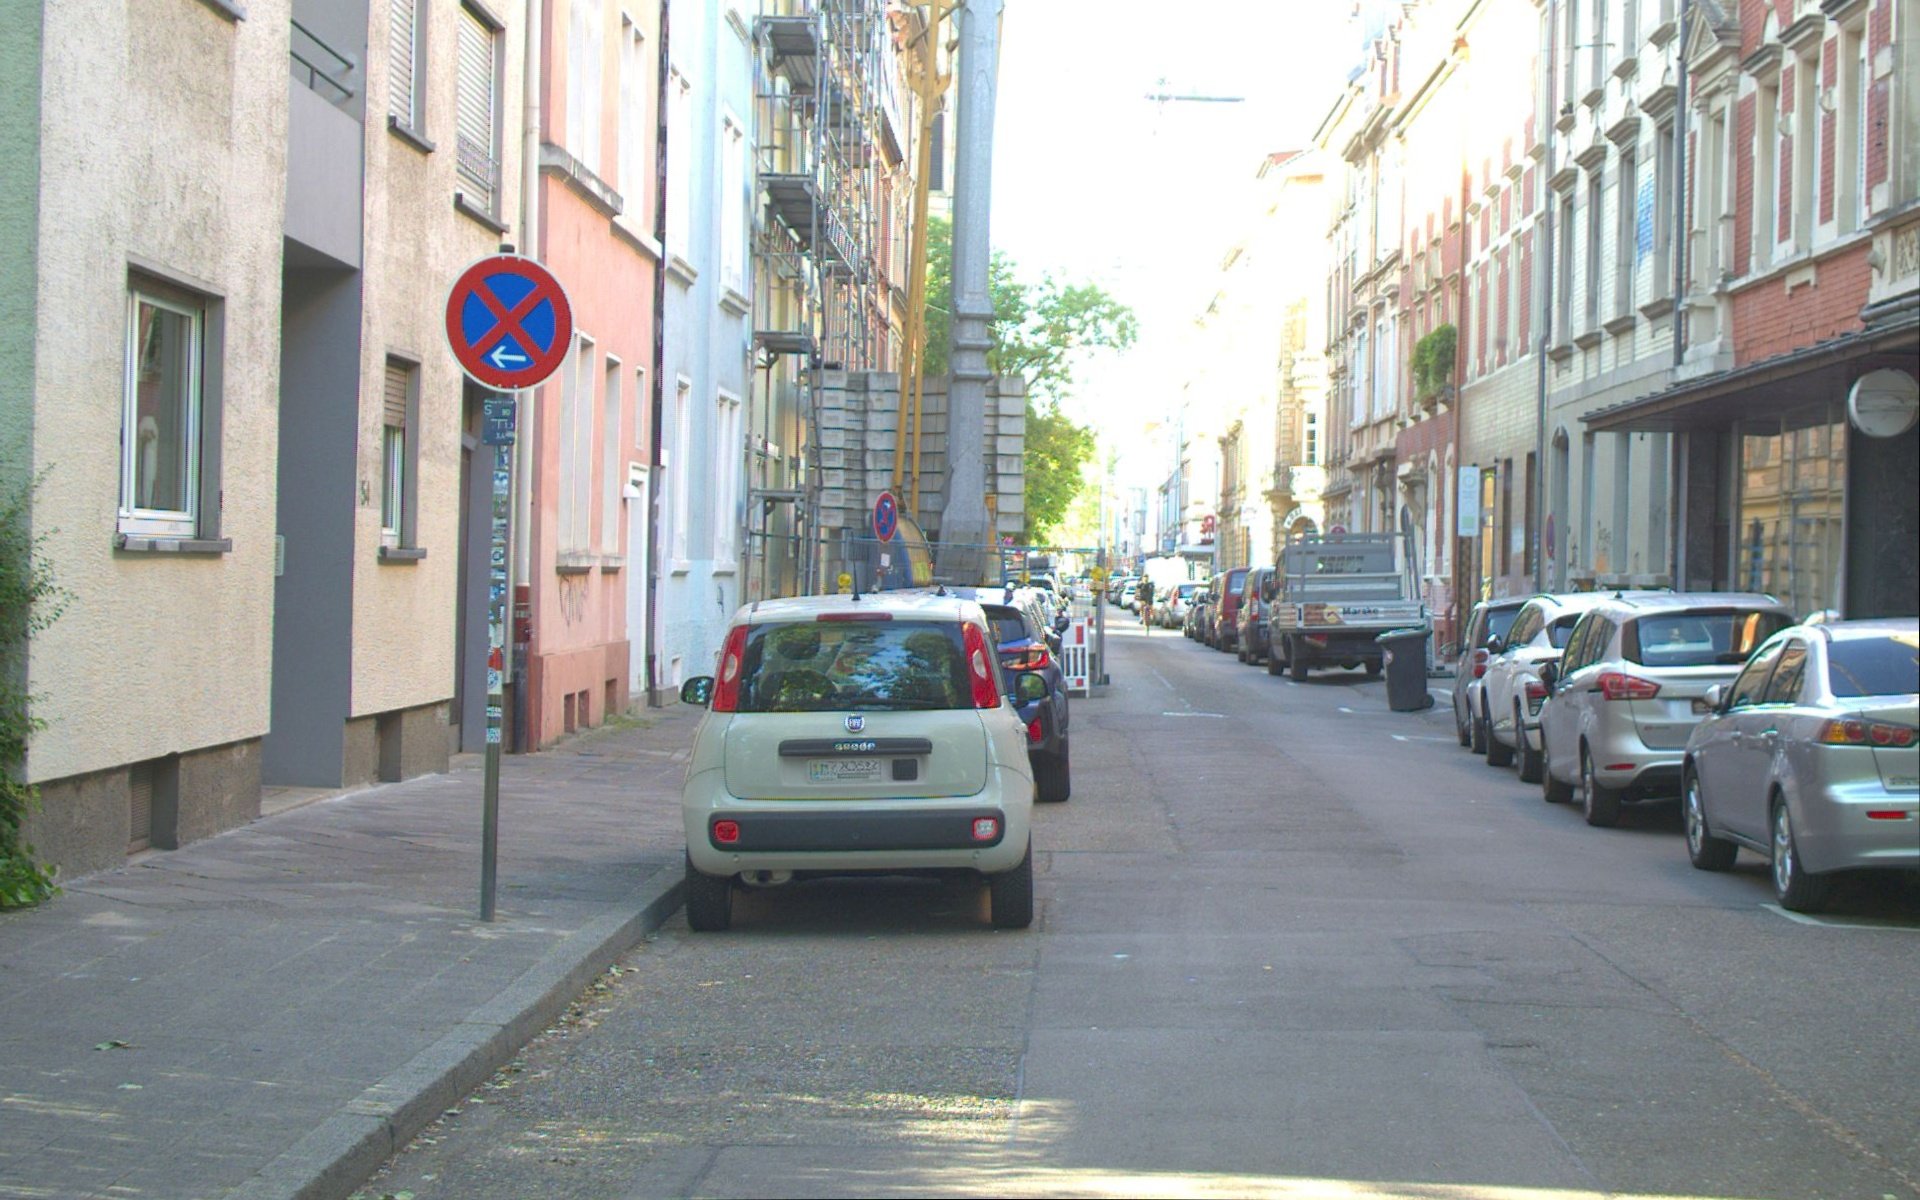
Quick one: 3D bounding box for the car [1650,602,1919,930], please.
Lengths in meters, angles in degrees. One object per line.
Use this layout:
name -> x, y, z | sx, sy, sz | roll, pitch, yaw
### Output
car -> 5.043, 0.819, 18.827 | 1.721, 1.557, 4.398 | 1, 0, 2

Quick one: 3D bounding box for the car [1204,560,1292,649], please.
car -> 6.748, 0.093, 80.795 | 1.675, 2.024, 3.869 | 1, 0, -1

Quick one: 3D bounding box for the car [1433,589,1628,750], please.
car -> 5.882, 0.677, 35.777 | 1.597, 1.555, 3.813 | 1, 0, 3

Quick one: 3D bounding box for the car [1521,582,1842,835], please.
car -> 5.139, 0.718, 24.923 | 1.640, 1.650, 3.869 | 1, 0, 3

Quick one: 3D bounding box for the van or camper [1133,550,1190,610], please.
van or camper -> 8.620, -0.865, 147.306 | 1.993, 2.500, 4.203 | 0, 0, -2

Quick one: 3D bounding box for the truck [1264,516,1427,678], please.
truck -> 6.417, -0.071, 57.794 | 2.190, 2.598, 5.234 | 0, 0, 1

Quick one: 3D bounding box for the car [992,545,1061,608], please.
car -> 1.702, -0.610, 89.134 | 1.675, 1.566, 3.869 | 1, 0, -1

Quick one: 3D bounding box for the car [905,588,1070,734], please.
car -> 0.340, 0.616, 37.669 | 1.675, 1.472, 4.608 | 1, 0, 2

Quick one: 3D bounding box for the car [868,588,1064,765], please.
car -> 0.108, 0.657, 31.945 | 1.675, 1.506, 4.414 | 1, 0, 2

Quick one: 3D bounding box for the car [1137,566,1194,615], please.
car -> 7.932, -0.367, 132.741 | 1.993, 1.842, 4.000 | 0, 0, 1

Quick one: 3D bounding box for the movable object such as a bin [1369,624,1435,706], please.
movable object such as a bin -> 5.852, 0.860, 45.552 | 0.795, 1.052, 0.660 | 1, 0, 2

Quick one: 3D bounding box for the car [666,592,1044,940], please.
car -> -0.484, 0.736, 17.224 | 1.675, 1.534, 3.869 | 0, 0, -1

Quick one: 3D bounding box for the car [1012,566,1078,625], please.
car -> 2.315, -0.133, 94.308 | 1.675, 1.566, 3.869 | 1, 0, -1

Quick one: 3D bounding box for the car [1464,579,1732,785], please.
car -> 5.588, 0.669, 30.561 | 1.746, 1.670, 4.340 | 1, 0, 3

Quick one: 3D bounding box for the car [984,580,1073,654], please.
car -> 1.368, 0.332, 70.147 | 1.675, 1.440, 3.869 | 1, 0, -1

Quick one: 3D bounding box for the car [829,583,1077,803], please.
car -> -0.067, 0.643, 26.237 | 1.729, 1.534, 4.378 | 0, 0, -1

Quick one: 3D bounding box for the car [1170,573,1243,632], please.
car -> 6.747, 0.064, 94.273 | 1.675, 1.566, 3.869 | 1, 0, -1

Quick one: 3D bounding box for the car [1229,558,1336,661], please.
car -> 6.368, 0.168, 68.306 | 1.675, 1.956, 4.109 | 1, 0, -1

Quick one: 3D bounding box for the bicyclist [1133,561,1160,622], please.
bicyclist -> 5.511, -0.251, 101.754 | 0.730, 1.755, 0.835 | 2, 1, 2

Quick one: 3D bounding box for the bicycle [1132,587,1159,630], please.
bicycle -> 5.488, 0.247, 101.765 | 0.724, 1.182, 2.042 | 2, 1, 2

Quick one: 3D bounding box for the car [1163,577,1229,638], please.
car -> 8.120, 0.240, 118.692 | 1.993, 2.007, 4.000 | 1, 1, 1
